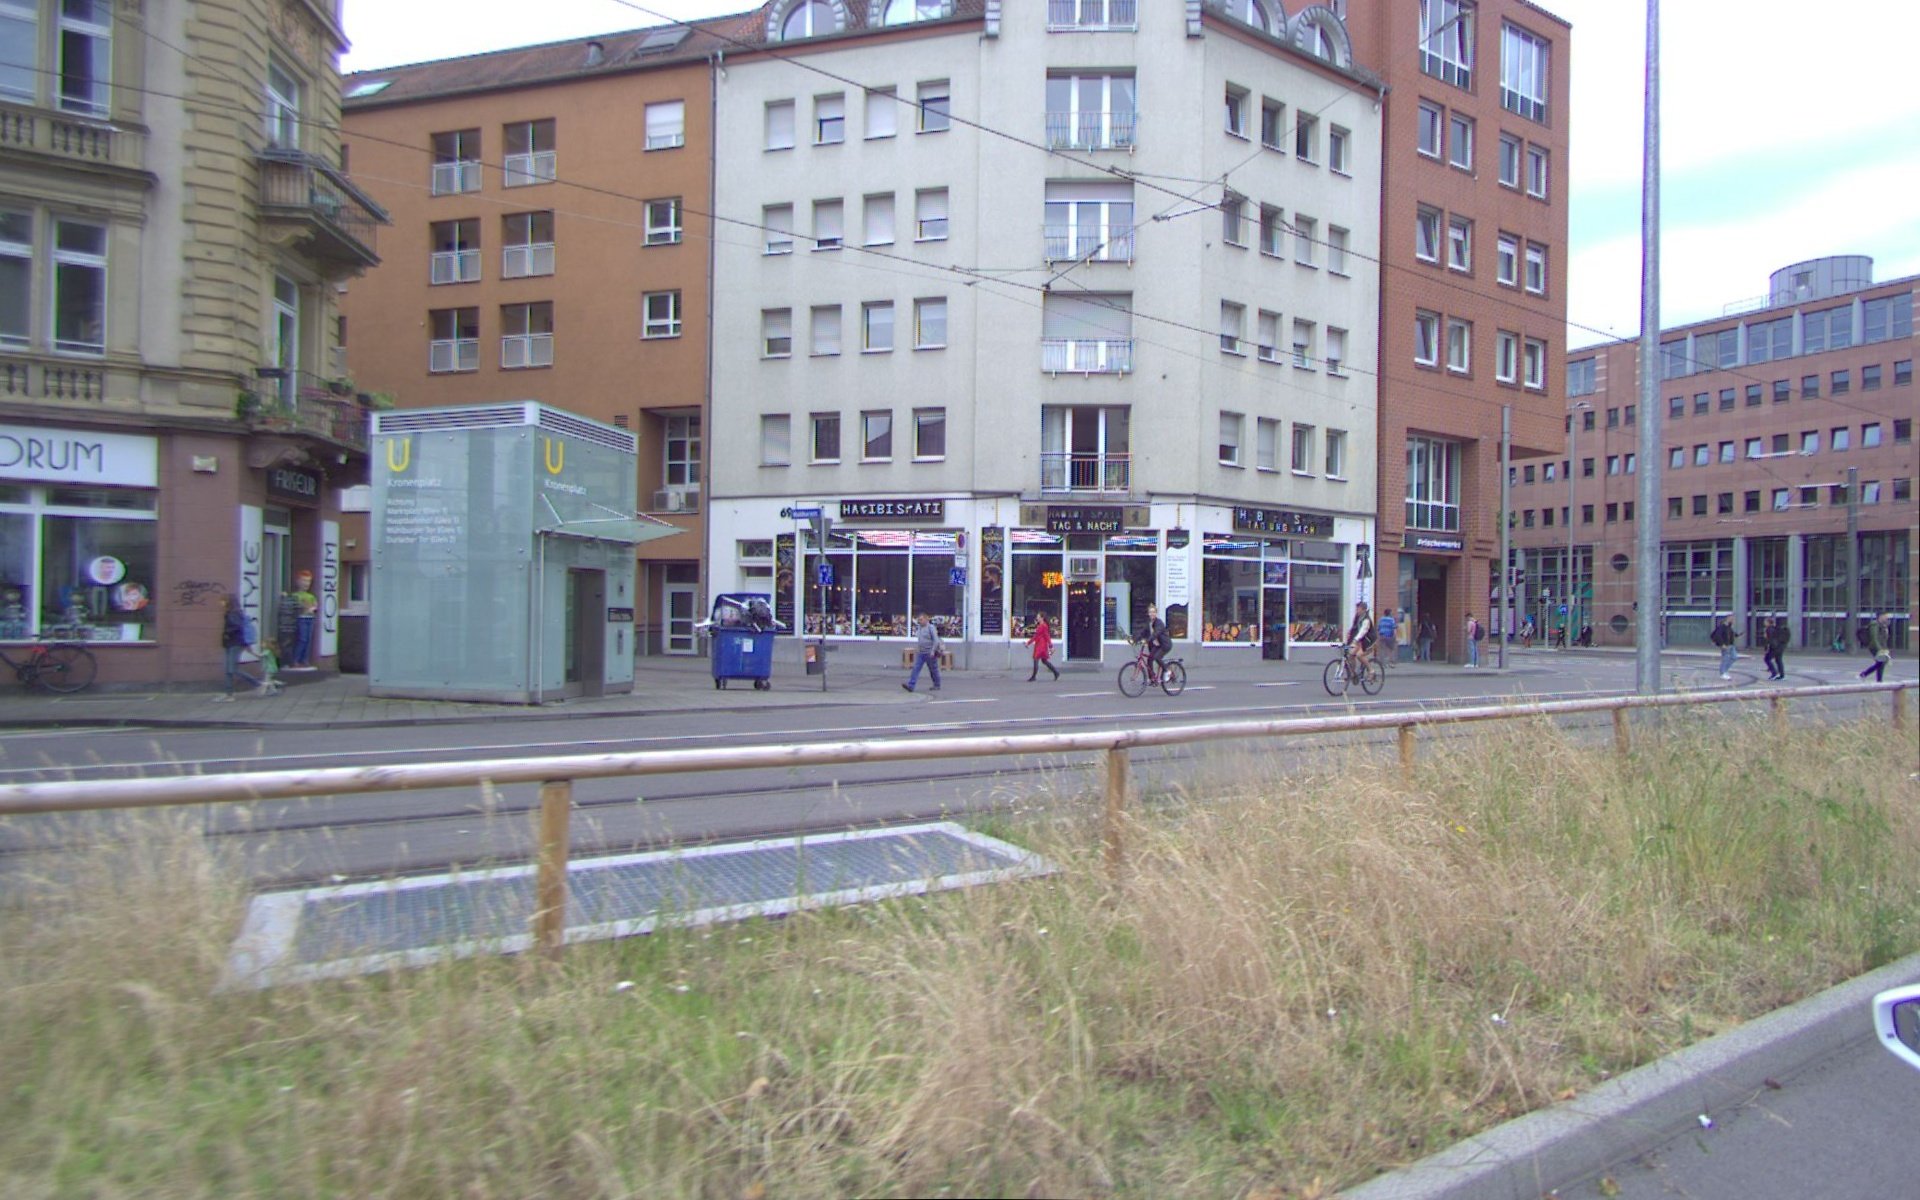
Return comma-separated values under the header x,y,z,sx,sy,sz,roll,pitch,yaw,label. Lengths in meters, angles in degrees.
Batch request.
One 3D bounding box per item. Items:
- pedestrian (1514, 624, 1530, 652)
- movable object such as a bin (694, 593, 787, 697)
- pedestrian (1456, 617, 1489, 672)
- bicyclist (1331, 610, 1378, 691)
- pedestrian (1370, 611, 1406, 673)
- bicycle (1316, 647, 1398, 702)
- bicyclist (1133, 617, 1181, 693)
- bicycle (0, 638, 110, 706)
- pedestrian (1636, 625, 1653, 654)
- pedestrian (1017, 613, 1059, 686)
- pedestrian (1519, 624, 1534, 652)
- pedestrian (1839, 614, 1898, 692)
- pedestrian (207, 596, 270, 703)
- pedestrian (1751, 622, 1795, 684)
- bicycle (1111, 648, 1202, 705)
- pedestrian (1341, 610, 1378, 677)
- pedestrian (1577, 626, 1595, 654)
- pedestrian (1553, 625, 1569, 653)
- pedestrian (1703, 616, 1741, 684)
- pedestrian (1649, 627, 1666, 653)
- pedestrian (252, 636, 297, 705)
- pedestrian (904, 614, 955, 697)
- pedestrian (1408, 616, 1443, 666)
x,y,z,sx,sy,sz,roll,pitch,yaw,label
33.790,2.280,60.407,0.624,1.633,0.568,3,-1,-38,pedestrian
-4.413,0.907,20.206,1.595,2.007,1.028,3,-2,-24,movable object such as a bin
16.294,1.421,31.955,0.791,1.706,0.565,2,0,-34,pedestrian
7.798,0.987,19.842,0.803,1.561,0.488,1,-1,-32,bicyclist
12.115,1.184,28.434,0.717,1.709,0.654,3,-2,-39,pedestrian
7.870,1.451,19.887,1.891,1.034,0.474,1,-1,-32,bicycle
3.758,1.035,19.168,0.803,1.425,0.476,1,-1,-32,bicyclist
-13.661,1.055,14.811,1.663,0.972,0.339,1,0,-24,bicycle
42.456,2.455,62.270,0.734,1.710,0.571,2,-1,44,pedestrian
1.859,1.169,23.890,0.657,1.709,0.714,3,-2,-40,pedestrian
33.588,2.252,59.551,0.624,1.633,0.568,3,-1,-38,pedestrian
23.082,1.338,25.521,0.790,1.915,0.891,2,0,-32,pedestrian
-10.941,0.740,15.243,0.648,1.577,0.552,1,0,-24,pedestrian
23.245,1.518,28.732,0.791,1.706,0.739,2,0,-34,pedestrian
3.754,1.436,19.136,1.891,1.034,0.476,1,-1,-32,bicycle
10.527,1.143,26.467,0.717,1.709,0.654,3,-2,-42,pedestrian
36.989,2.358,59.341,0.734,1.581,0.571,3,-1,-25,pedestrian
35.044,2.277,58.585,0.624,1.595,0.568,3,-1,-38,pedestrian
21.921,1.423,28.898,0.790,1.915,0.607,2,-1,-32,pedestrian
43.395,2.496,62.507,0.570,1.581,0.735,3,-1,-40,pedestrian
-10.852,1.114,15.911,0.446,1.044,0.552,1,0,-21,pedestrian
-0.644,1.166,21.166,0.813,1.709,0.719,2,-2,-23,pedestrian
16.295,1.426,35.160,0.791,1.706,0.739,2,0,-34,pedestrian
